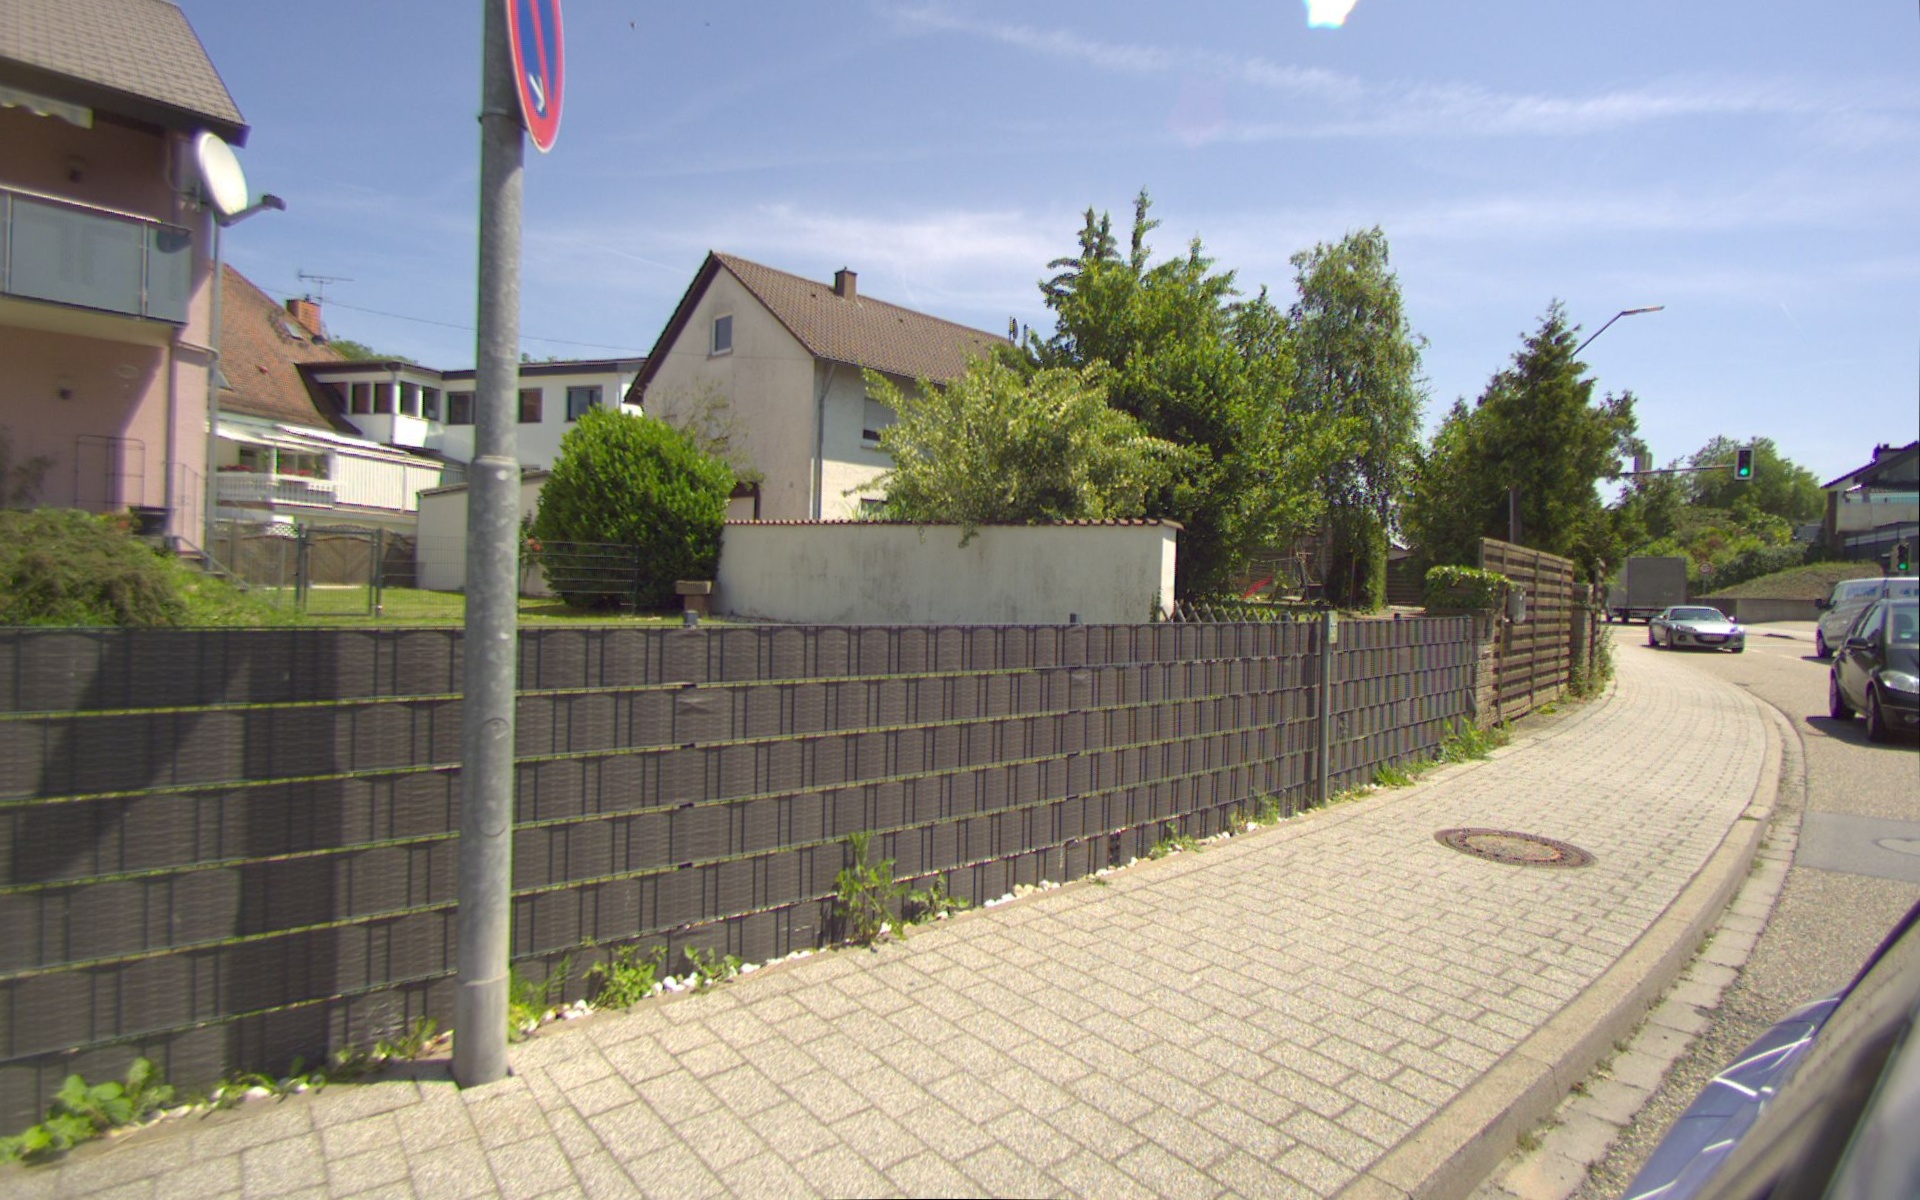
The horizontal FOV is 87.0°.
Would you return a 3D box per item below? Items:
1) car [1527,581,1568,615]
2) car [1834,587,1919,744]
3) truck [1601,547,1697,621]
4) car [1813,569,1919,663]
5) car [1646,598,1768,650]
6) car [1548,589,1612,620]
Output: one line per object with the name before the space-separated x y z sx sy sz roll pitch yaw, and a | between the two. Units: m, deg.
car | 35.595 -0.144 61.406 1.851 1.932 4.990 0 0 27
car | 11.535 0.661 11.721 1.755 1.612 4.144 1 1 36
truck | 34.351 -0.764 50.713 2.446 3.410 7.557 -1 0 23
car | 22.119 0.300 23.682 1.979 2.025 5.169 -1 0 25
car | 21.258 0.628 28.970 1.793 1.331 3.972 1 1 21
car | 29.195 0.183 47.790 1.876 1.393 3.972 1 1 21
